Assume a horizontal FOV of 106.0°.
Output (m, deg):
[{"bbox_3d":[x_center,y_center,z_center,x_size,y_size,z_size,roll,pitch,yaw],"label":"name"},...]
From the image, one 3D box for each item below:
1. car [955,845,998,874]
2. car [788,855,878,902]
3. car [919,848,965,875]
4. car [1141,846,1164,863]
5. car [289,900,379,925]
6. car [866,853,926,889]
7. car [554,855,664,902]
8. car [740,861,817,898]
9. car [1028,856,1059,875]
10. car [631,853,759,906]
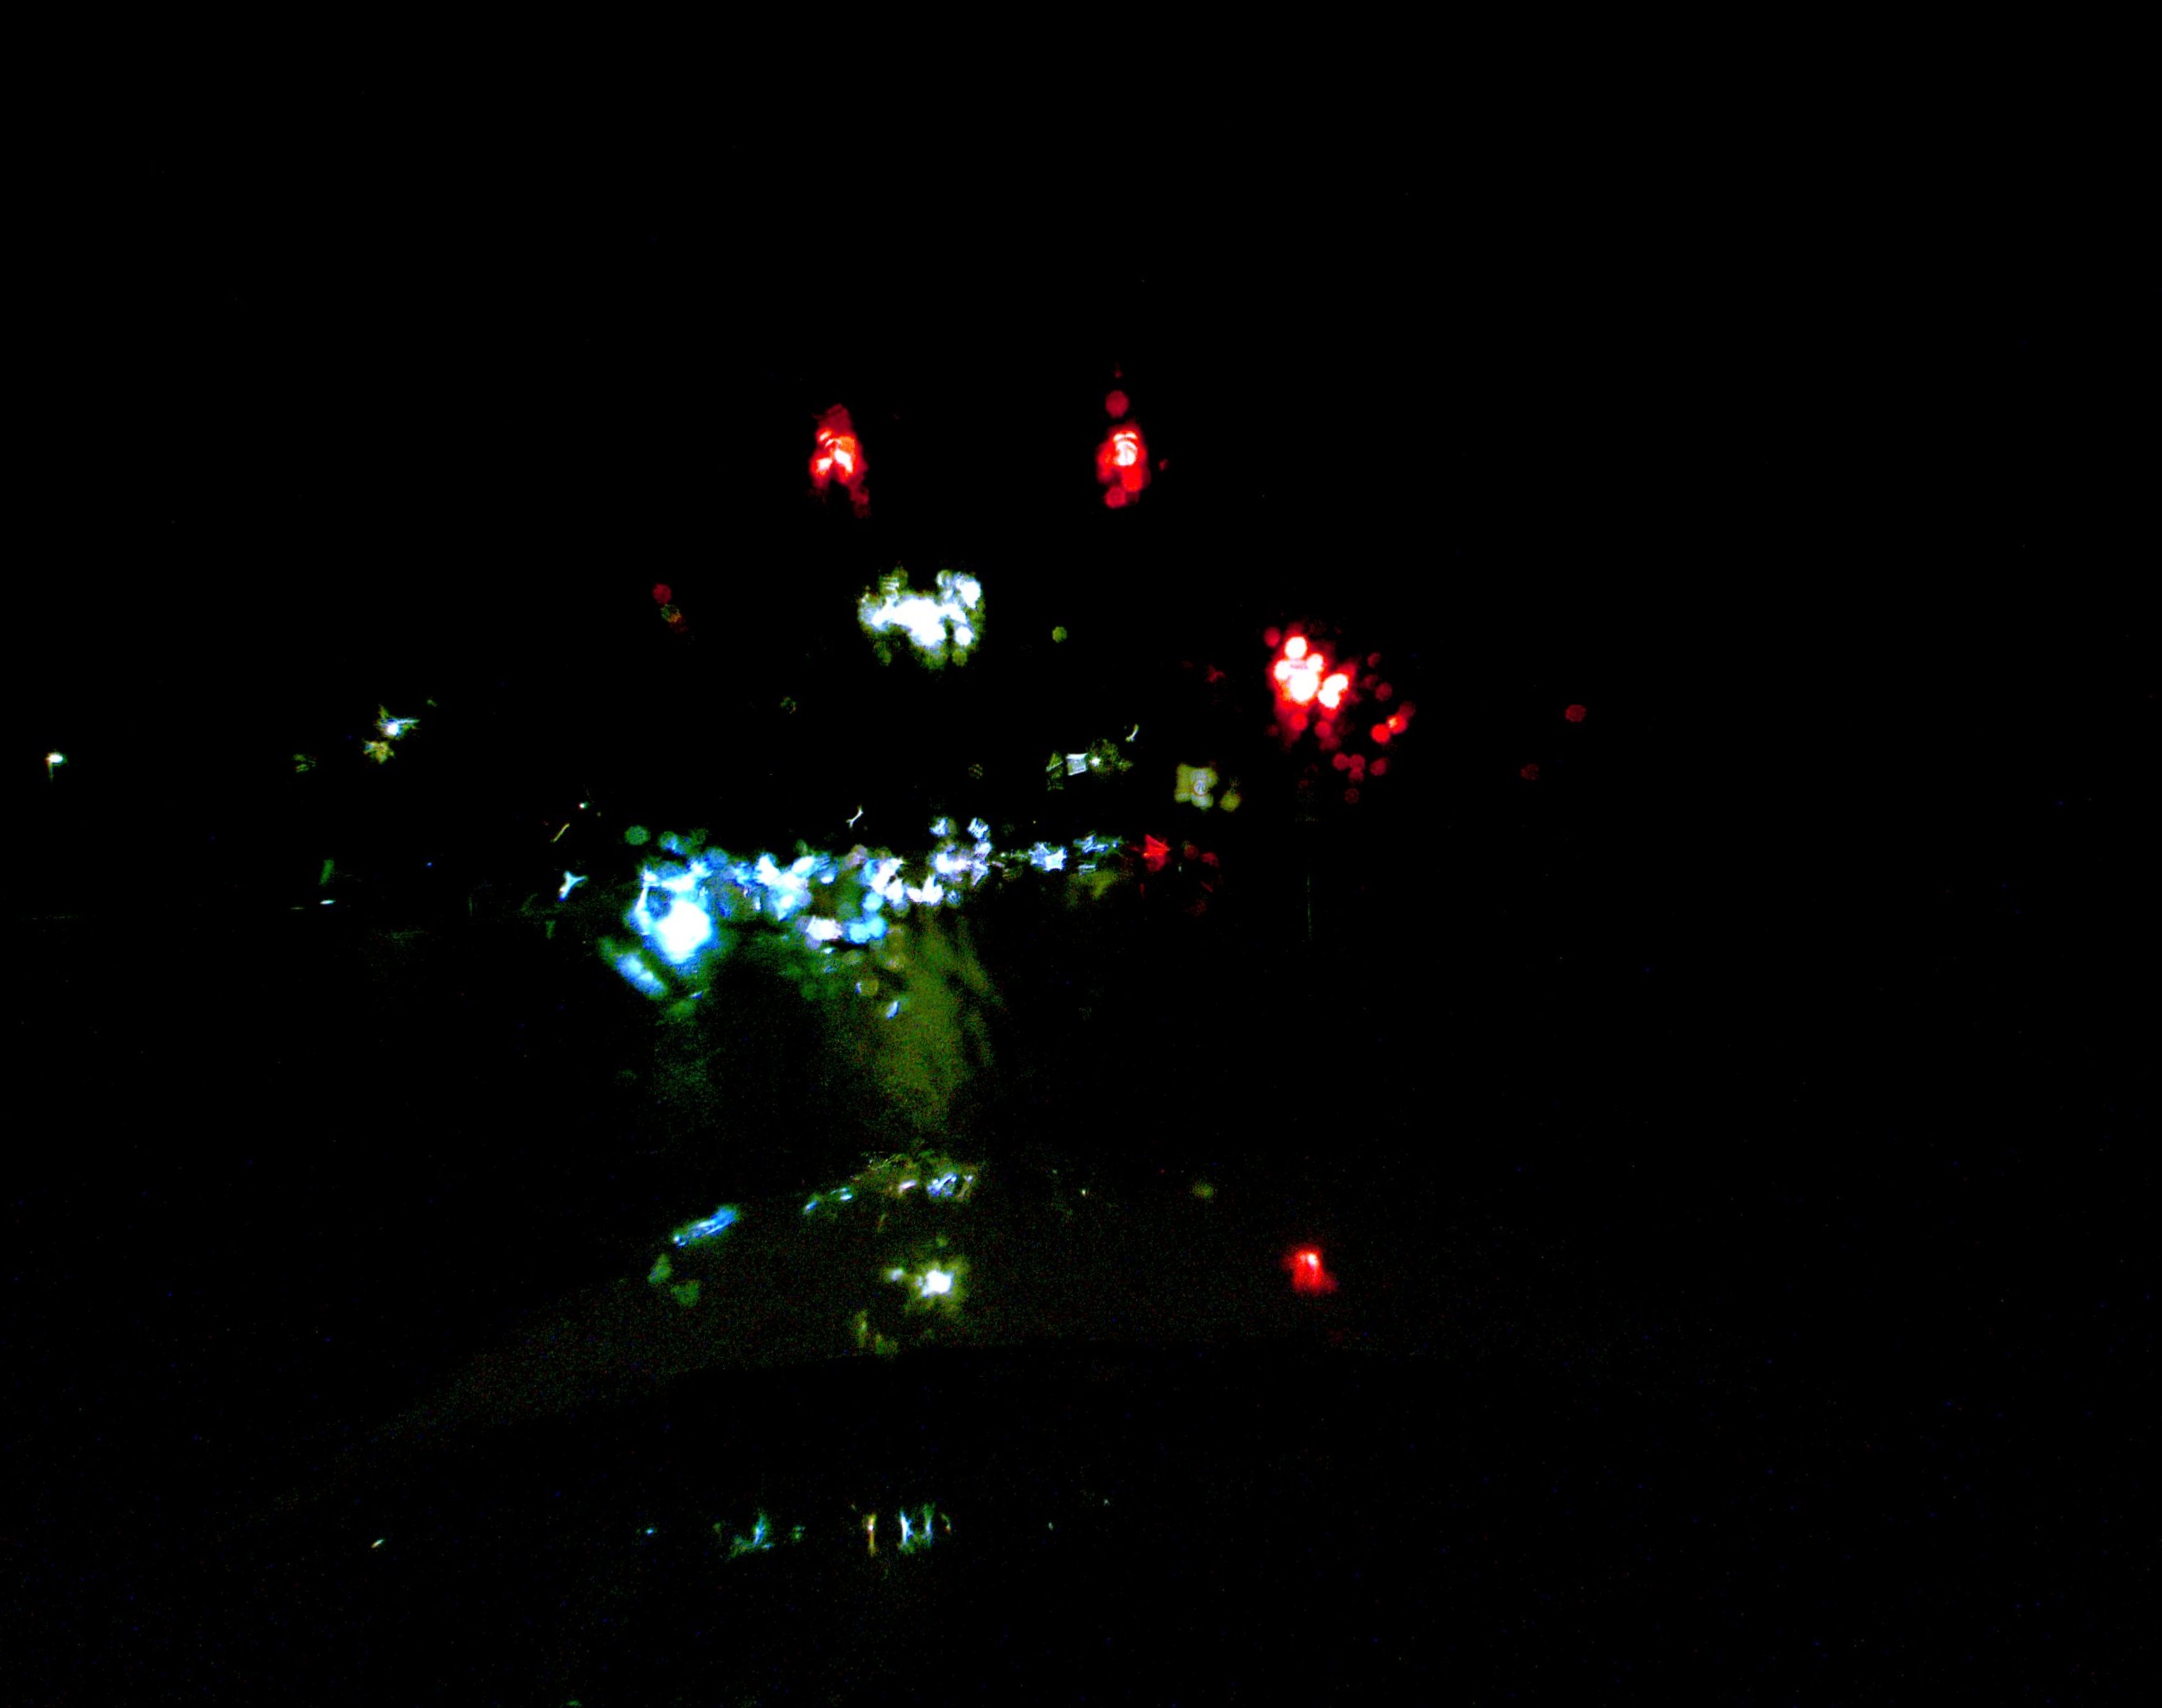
[{"bbox_3d":[-6.635,0.369,52.050,1.708,1.703,4.151,-1,-1,7],"label":"car"},{"bbox_3d":[-9.168,0.853,30.542,1.692,1.571,4.715,-1,0,3],"label":"car"},{"bbox_3d":[-9.159,0.522,53.900,1.984,1.720,4.005,-1,-1,5],"label":"car"},{"bbox_3d":[6.990,0.085,79.447,1.986,1.611,4.104,-1,-1,2],"label":"car"},{"bbox_3d":[-51.944,4.045,56.769,2.161,1.449,4.146,-1,-1,9],"label":"car"},{"bbox_3d":[-8.494,0.771,37.608,1.577,1.526,3.657,-1,-1,6],"label":"car"},{"bbox_3d":[-20.765,1.034,35.879,4.017,1.831,1.703,-2,0,-35],"label":"car"},{"bbox_3d":[-12.525,1.042,33.975,1.661,1.454,3.730,-1,-1,3],"label":"car"},{"bbox_3d":[-3.242,0.997,71.412,1.697,1.534,4.613,-1,-1,10],"label":"car"},{"bbox_3d":[-12.832,0.788,27.448,1.785,1.571,4.916,-1,0,2],"label":"car"}]
